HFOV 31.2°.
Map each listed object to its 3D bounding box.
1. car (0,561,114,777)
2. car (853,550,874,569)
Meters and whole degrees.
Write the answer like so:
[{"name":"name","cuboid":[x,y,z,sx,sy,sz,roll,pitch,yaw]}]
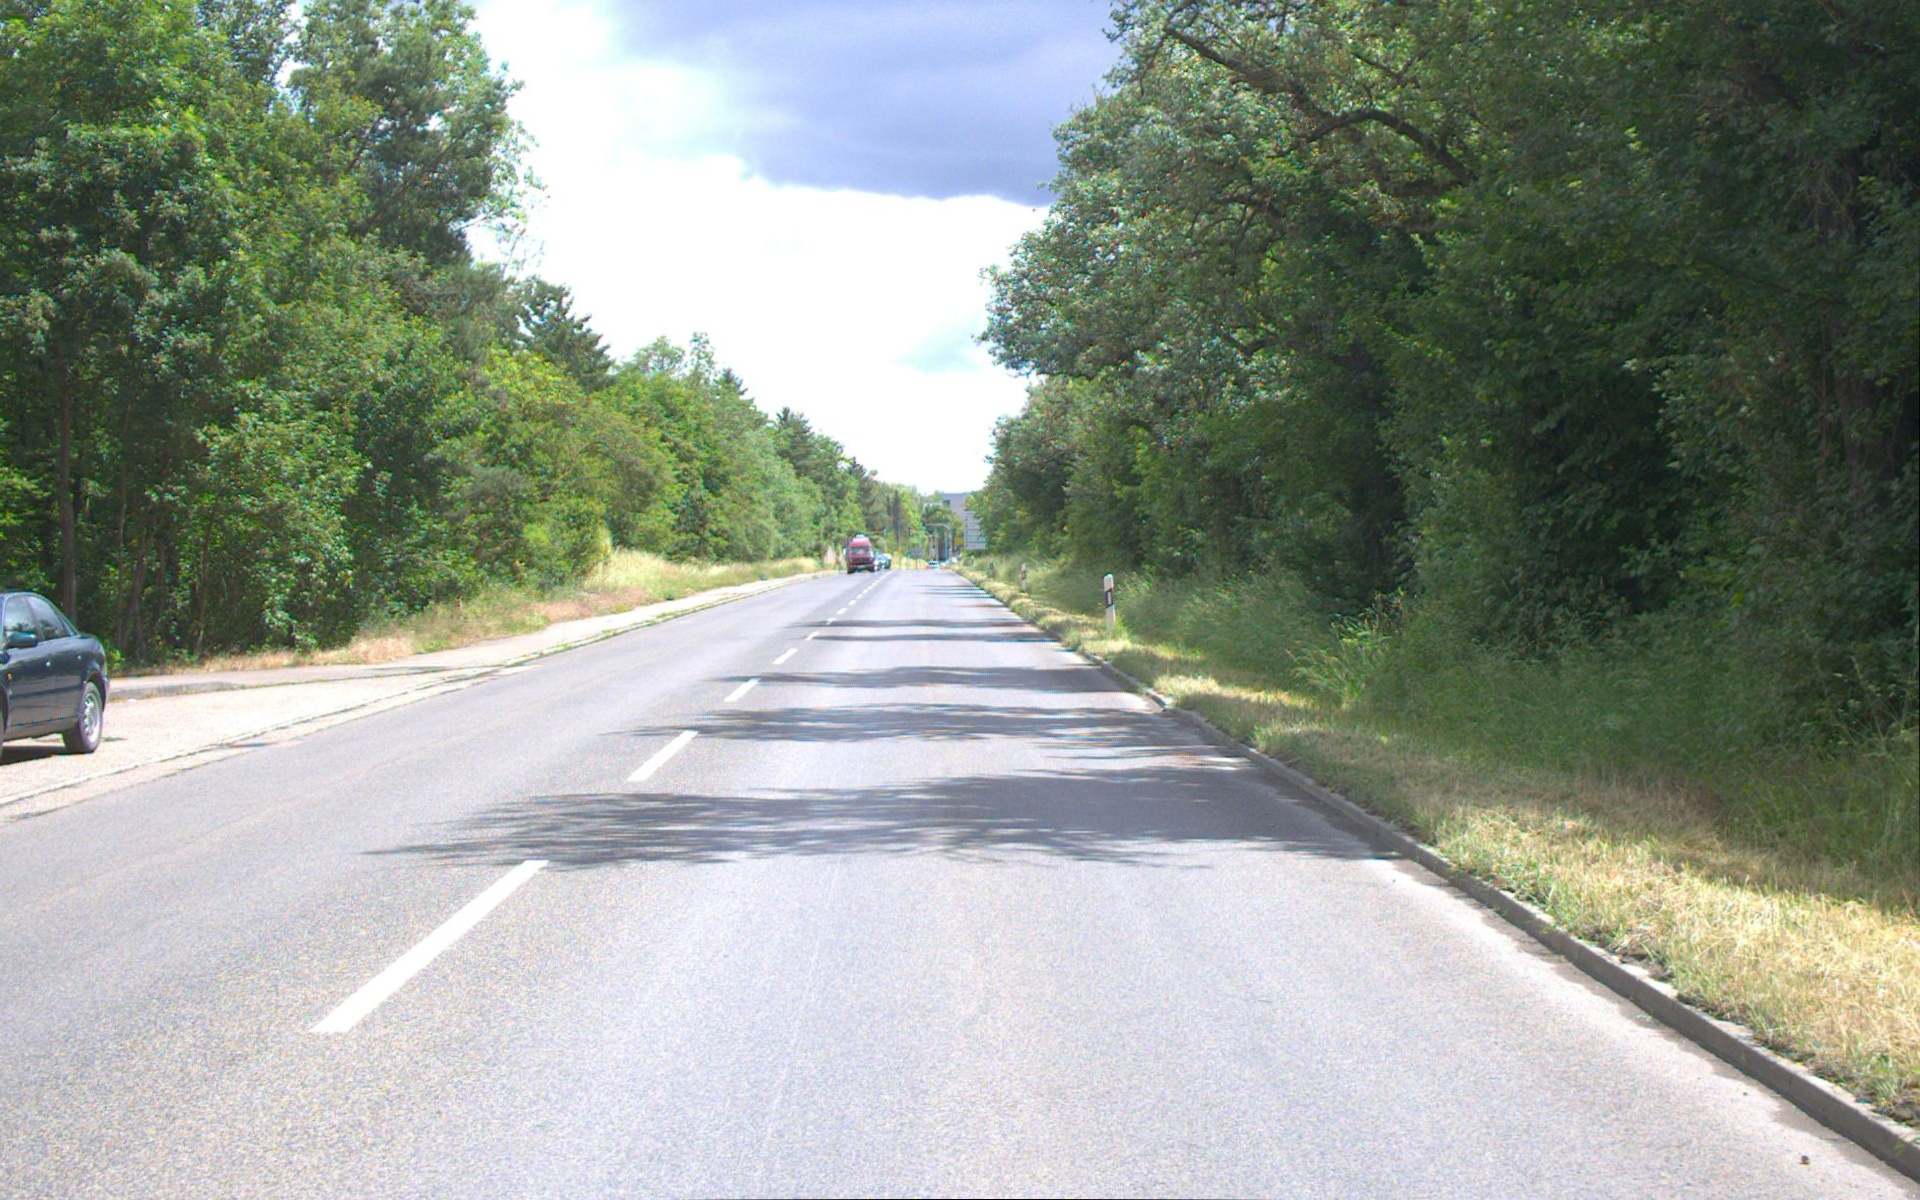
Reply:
[{"name":"car","cuboid":[-8.231,0.529,27.675,1.798,1.619,3.955,-1,1,1]},{"name":"car","cuboid":[-6.637,-2.790,236.312,1.391,1.196,3.016,-1,1,-1]}]
